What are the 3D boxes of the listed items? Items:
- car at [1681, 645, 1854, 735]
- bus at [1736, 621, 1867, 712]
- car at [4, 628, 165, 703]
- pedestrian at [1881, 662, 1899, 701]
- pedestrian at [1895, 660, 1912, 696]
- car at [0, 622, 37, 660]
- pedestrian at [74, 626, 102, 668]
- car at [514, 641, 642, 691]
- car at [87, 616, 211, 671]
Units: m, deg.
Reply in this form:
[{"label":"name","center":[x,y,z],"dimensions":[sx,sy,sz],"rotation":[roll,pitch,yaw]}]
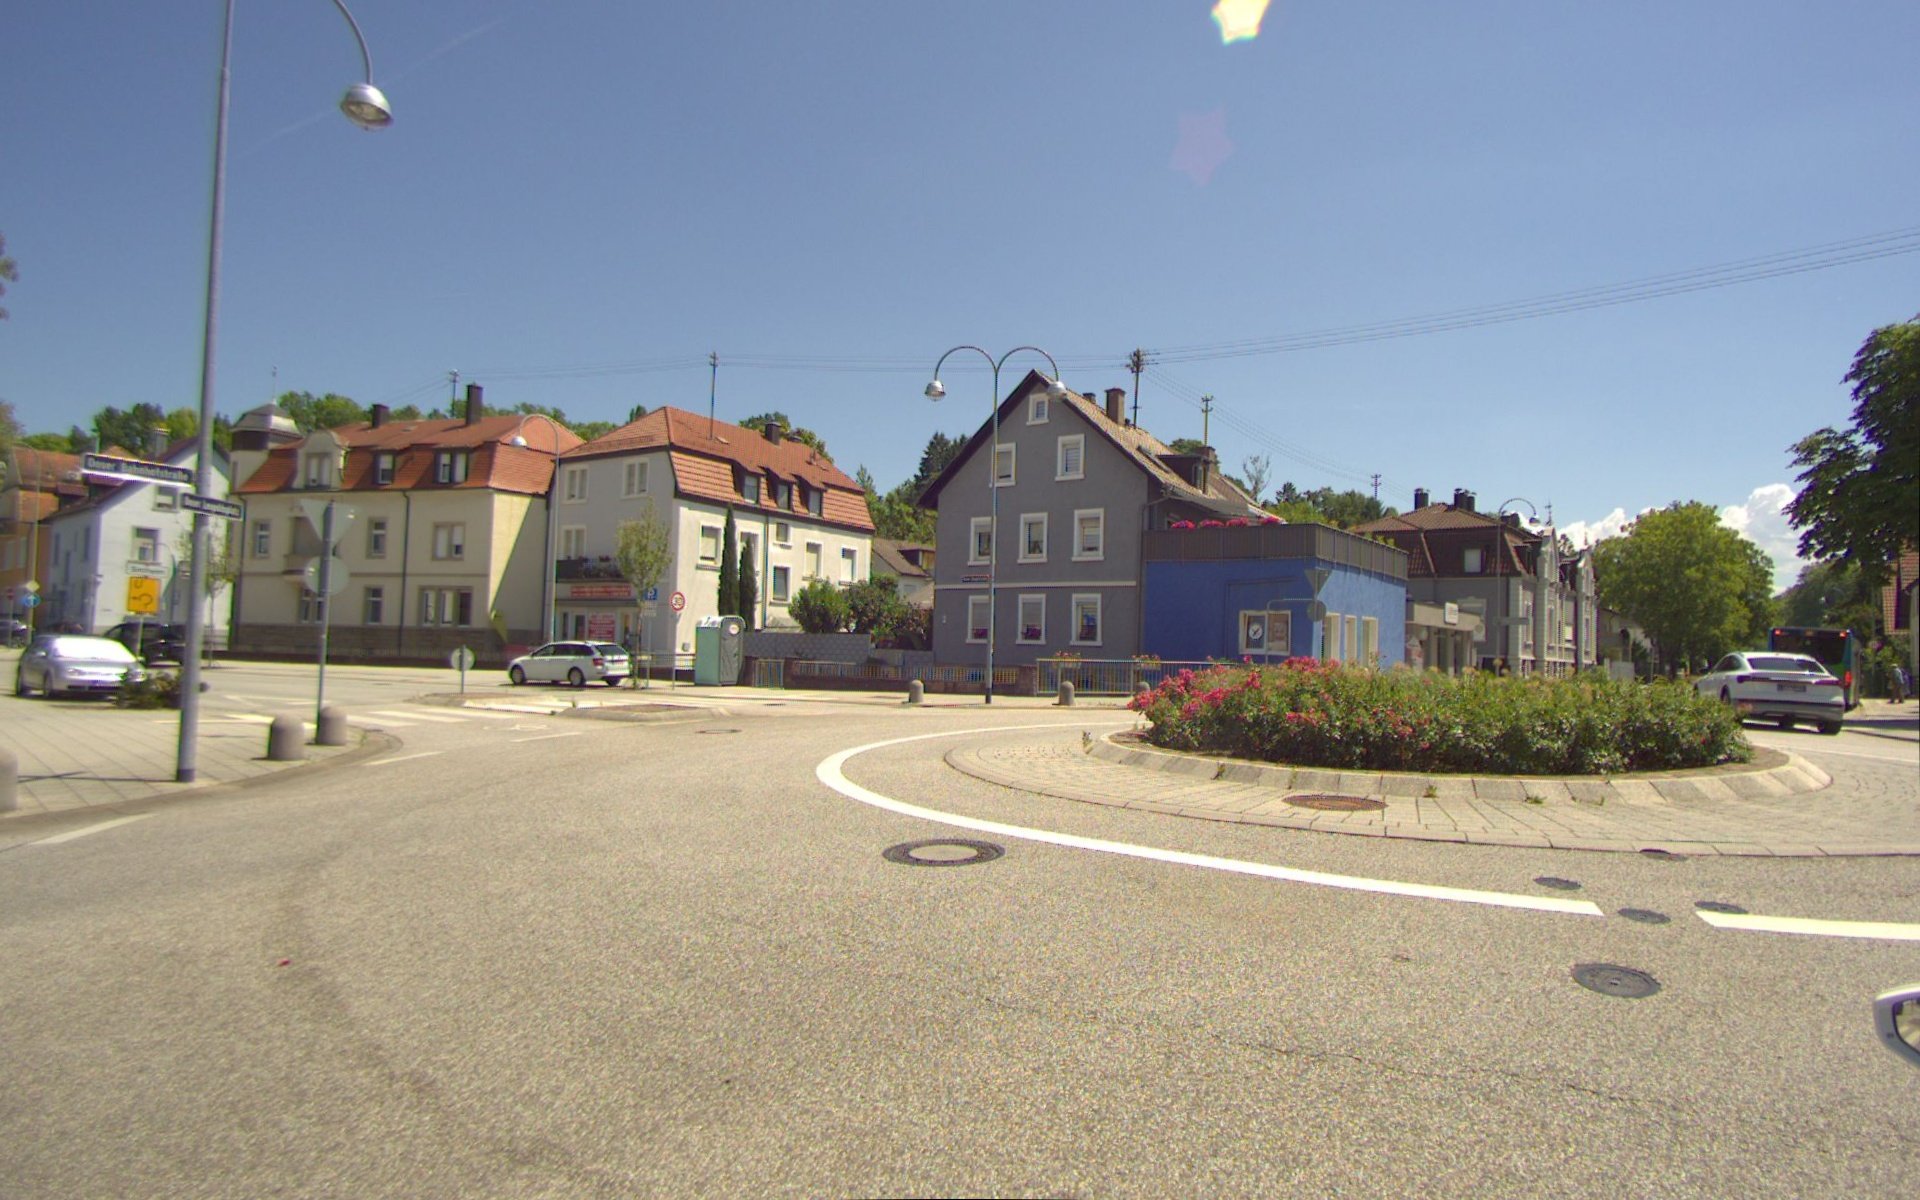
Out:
[{"label":"car","center":[17.764,1.913,22.356],"dimensions":[1.868,1.683,4.408],"rotation":[3,-2,24]},{"label":"bus","center":[37.637,2.966,44.501],"dimensions":[3.665,3.213,17.973],"rotation":[2,-2,42]},{"label":"car","center":[-20.101,1.456,23.030],"dimensions":[3.933,1.544,1.792],"rotation":[0,-3,34]},{"label":"pedestrian","center":[41.082,3.582,44.387],"dimensions":[0.496,1.672,0.577],"rotation":[0,-3,36]},{"label":"pedestrian","center":[42.040,3.473,44.752],"dimensions":[0.482,1.542,0.541],"rotation":[0,-3,36]},{"label":"car","center":[-52.020,2.150,53.445],"dimensions":[1.969,2.040,3.984],"rotation":[-1,-3,38]},{"label":"pedestrian","center":[-42.277,2.283,48.703],"dimensions":[0.710,2.040,0.870],"rotation":[2,-2,-26]},{"label":"car","center":[-12.562,2.130,33.030],"dimensions":[4.001,1.410,1.608],"rotation":[0,0,25]},{"label":"car","center":[-33.695,1.787,41.746],"dimensions":[3.919,2.040,2.001],"rotation":[3,-2,15]}]
